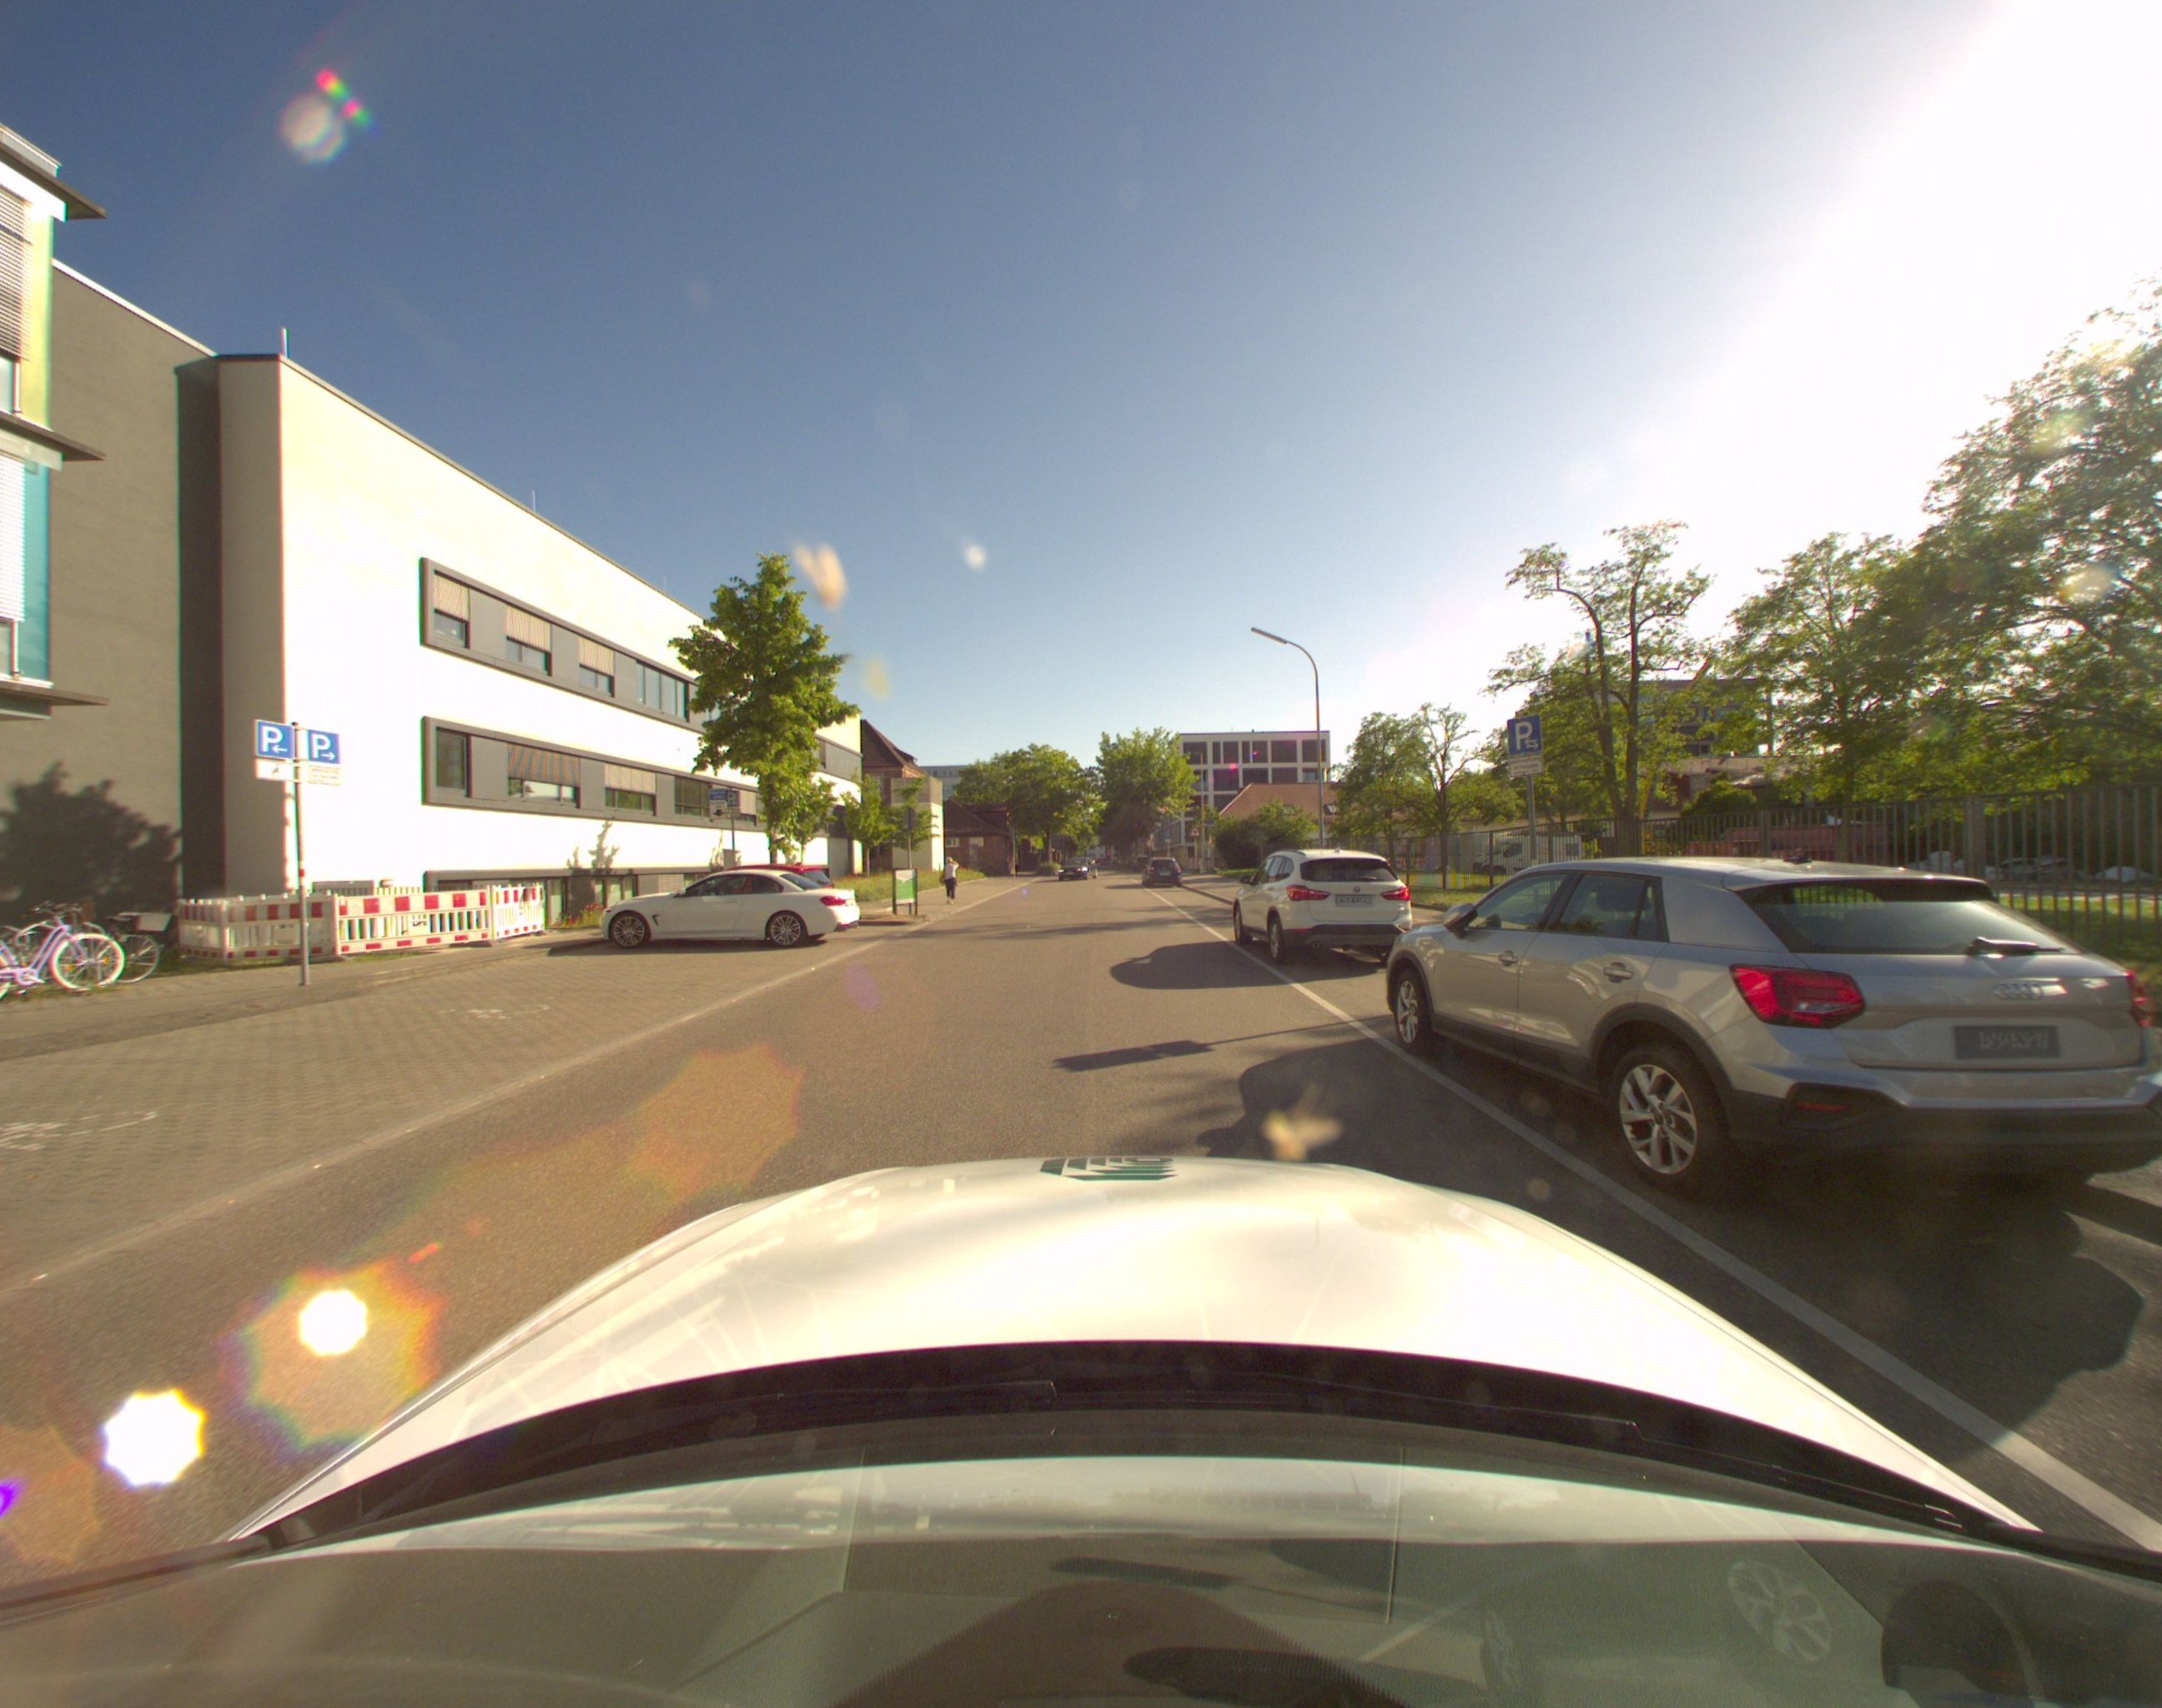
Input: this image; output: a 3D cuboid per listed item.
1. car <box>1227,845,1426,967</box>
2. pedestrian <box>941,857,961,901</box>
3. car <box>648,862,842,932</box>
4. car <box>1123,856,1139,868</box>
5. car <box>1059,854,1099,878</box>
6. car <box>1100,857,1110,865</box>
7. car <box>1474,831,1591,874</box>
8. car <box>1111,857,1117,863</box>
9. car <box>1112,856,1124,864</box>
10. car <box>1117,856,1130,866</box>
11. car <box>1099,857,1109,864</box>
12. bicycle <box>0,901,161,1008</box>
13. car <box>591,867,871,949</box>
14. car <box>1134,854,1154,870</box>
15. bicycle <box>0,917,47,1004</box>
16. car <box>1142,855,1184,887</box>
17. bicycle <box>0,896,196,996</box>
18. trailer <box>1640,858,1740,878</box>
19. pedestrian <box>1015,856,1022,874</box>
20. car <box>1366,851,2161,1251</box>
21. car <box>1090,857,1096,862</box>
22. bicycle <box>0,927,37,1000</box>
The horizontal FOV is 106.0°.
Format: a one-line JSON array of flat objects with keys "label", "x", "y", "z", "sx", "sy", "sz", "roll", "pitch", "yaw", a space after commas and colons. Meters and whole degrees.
[{"label": "car", "x": 3.595, "y": 0.679, "z": 12.767, "sx": 1.807, "sy": 1.588, "sz": 4.260, "roll": 0, "pitch": 0, "yaw": -1}, {"label": "pedestrian", "x": -4.563, "y": 0.885, "z": 28.687, "sx": 0.536, "sy": 1.524, "sz": 0.607, "roll": -2, "pitch": 0, "yaw": 2}, {"label": "car", "x": -7.391, "y": 0.923, "z": 18.129, "sx": 3.623, "sy": 1.469, "sz": 1.614, "roll": 0, "pitch": 0, "yaw": 0}, {"label": "car", "x": 6.213, "y": 1.017, "z": 101.533, "sx": 1.761, "sy": 1.440, "sz": 3.999, "roll": -1, "pitch": 0, "yaw": 0}, {"label": "car", "x": -0.089, "y": 0.771, "z": 53.574, "sx": 1.751, "sy": 1.442, "sz": 4.551, "roll": -2, "pitch": 0, "yaw": 11}, {"label": "car", "x": 4.644, "y": 1.424, "z": 158.547, "sx": 1.761, "sy": 1.548, "sz": 4.065, "roll": -1, "pitch": 0, "yaw": 0}, {"label": "car", "x": 24.817, "y": -0.110, "z": 44.908, "sx": 5.256, "sy": 2.202, "sz": 2.004, "roll": -1, "pitch": 1, "yaw": 6}, {"label": "car", "x": 8.599, "y": 1.534, "z": 211.662, "sx": 1.579, "sy": 1.400, "sz": 3.838, "roll": -1, "pitch": 0, "yaw": 2}, {"label": "car", "x": 6.662, "y": 1.035, "z": 146.616, "sx": 1.986, "sy": 1.465, "sz": 3.838, "roll": -1, "pitch": 0, "yaw": 2}, {"label": "car", "x": 6.786, "y": 1.110, "z": 130.449, "sx": 1.943, "sy": 1.578, "sz": 3.838, "roll": -1, "pitch": 0, "yaw": 2}, {"label": "car", "x": 4.436, "y": 1.223, "z": 158.397, "sx": 1.882, "sy": 1.400, "sz": 3.838, "roll": -1, "pitch": 0, "yaw": 2}, {"label": "bicycle", "x": -12.396, "y": 1.177, "z": 9.763, "sx": 0.532, "sy": 1.111, "sz": 1.862, "roll": -2, "pitch": 0, "yaw": 3}, {"label": "car", "x": -6.442, "y": 0.990, "z": 15.405, "sx": 4.503, "sy": 1.367, "sz": 1.697, "roll": 1, "pitch": 0, "yaw": -4}, {"label": "car", "x": 6.167, "y": 0.750, "z": 80.282, "sx": 1.697, "sy": 1.468, "sz": 4.789, "roll": -1, "pitch": 0, "yaw": 1}, {"label": "bicycle", "x": -12.946, "y": 1.273, "z": 9.287, "sx": 0.393, "sy": 0.988, "sz": 1.451, "roll": -2, "pitch": 0, "yaw": 2}, {"label": "car", "x": 4.047, "y": 0.804, "z": 40.657, "sx": 1.811, "sy": 1.453, "sz": 4.216, "roll": -2, "pitch": 0, "yaw": 2}, {"label": "bicycle", "x": -13.070, "y": 1.181, "z": 10.919, "sx": 0.418, "sy": 1.123, "sz": 1.764, "roll": -2, "pitch": 0, "yaw": 2}, {"label": "trailer", "x": 30.771, "y": 0.693, "z": 41.370, "sx": 1.886, "sy": 0.919, "sz": 5.122, "roll": -1, "pitch": 0, "yaw": 9}, {"label": "pedestrian", "x": -5.472, "y": 0.936, "z": 71.129, "sx": 0.519, "sy": 1.562, "sz": 1.096, "roll": -1, "pitch": 0, "yaw": 0}, {"label": "car", "x": 3.350, "y": 0.732, "z": 5.052, "sx": 1.696, "sy": 1.487, "sz": 3.978, "roll": 0, "pitch": 0, "yaw": -2}, {"label": "car", "x": 3.269, "y": 1.551, "z": 228.455, "sx": 1.647, "sy": 1.530, "sz": 4.001, "roll": -1, "pitch": 0, "yaw": 1}, {"label": "bicycle", "x": -13.428, "y": 1.363, "z": 9.577, "sx": 0.367, "sy": 0.863, "sz": 1.451, "roll": -2, "pitch": 0, "yaw": 2}]
